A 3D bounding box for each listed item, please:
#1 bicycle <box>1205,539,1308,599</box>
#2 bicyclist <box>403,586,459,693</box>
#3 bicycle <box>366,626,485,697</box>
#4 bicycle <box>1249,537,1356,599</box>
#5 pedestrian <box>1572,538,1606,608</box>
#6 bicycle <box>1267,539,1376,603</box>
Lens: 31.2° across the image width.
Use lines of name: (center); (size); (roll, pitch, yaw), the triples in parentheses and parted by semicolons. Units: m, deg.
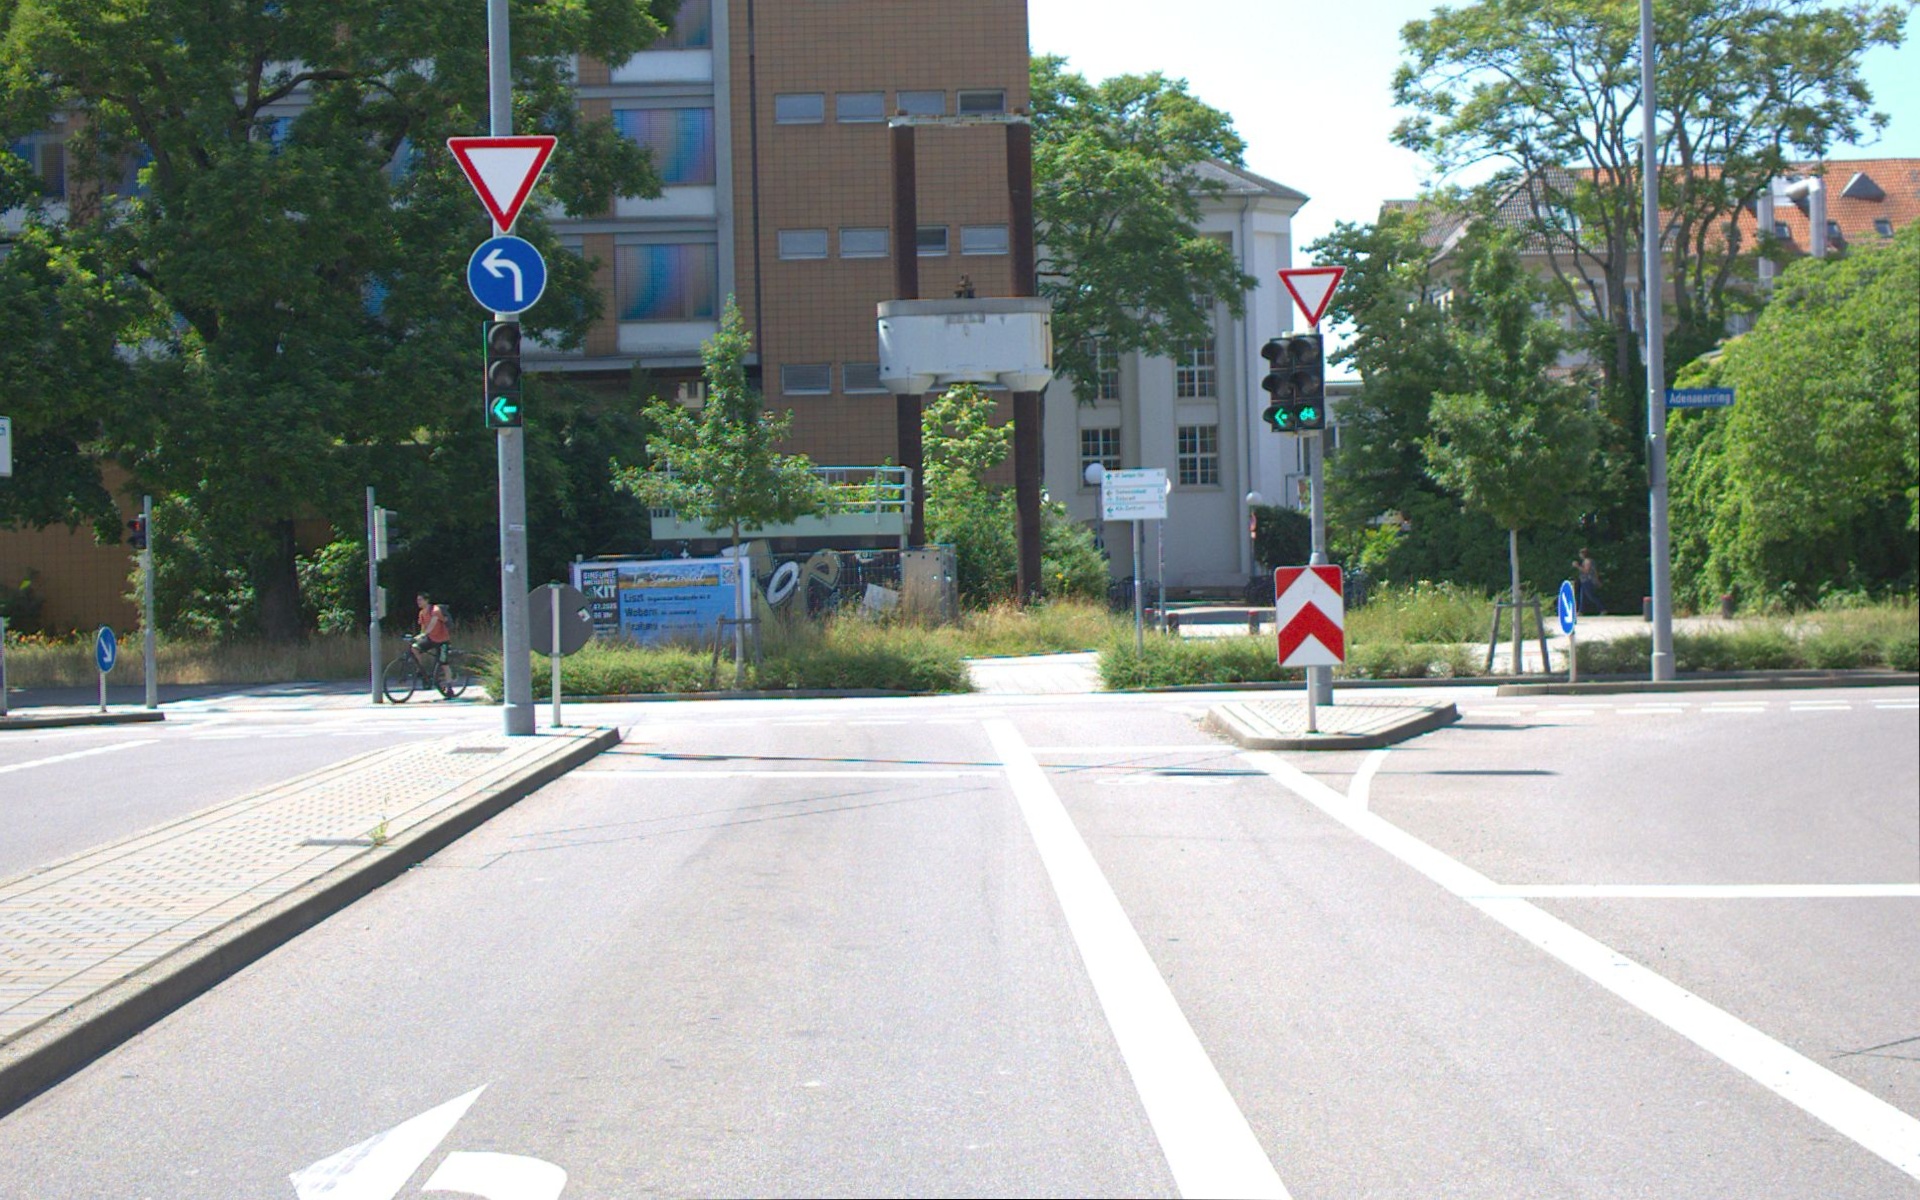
bicycle: (10.127, -1.044, 117.352); (3.447, 2.007, 0.760); (1, 0, 1)
bicyclist: (-8.630, 0.637, 56.110); (0.551, 1.710, 0.701); (1, 2, 40)
bicycle: (-8.700, 0.996, 56.029); (0.558, 1.042, 1.992); (0, 2, 41)
bicycle: (11.235, -1.054, 112.876); (3.447, 2.007, 0.760); (1, 0, 1)
pedestrian: (14.935, -0.642, 81.651); (0.639, 1.660, 0.707); (1, 0, -2)
bicycle: (11.696, -0.933, 111.229); (3.447, 2.007, 0.760); (1, 0, 1)
